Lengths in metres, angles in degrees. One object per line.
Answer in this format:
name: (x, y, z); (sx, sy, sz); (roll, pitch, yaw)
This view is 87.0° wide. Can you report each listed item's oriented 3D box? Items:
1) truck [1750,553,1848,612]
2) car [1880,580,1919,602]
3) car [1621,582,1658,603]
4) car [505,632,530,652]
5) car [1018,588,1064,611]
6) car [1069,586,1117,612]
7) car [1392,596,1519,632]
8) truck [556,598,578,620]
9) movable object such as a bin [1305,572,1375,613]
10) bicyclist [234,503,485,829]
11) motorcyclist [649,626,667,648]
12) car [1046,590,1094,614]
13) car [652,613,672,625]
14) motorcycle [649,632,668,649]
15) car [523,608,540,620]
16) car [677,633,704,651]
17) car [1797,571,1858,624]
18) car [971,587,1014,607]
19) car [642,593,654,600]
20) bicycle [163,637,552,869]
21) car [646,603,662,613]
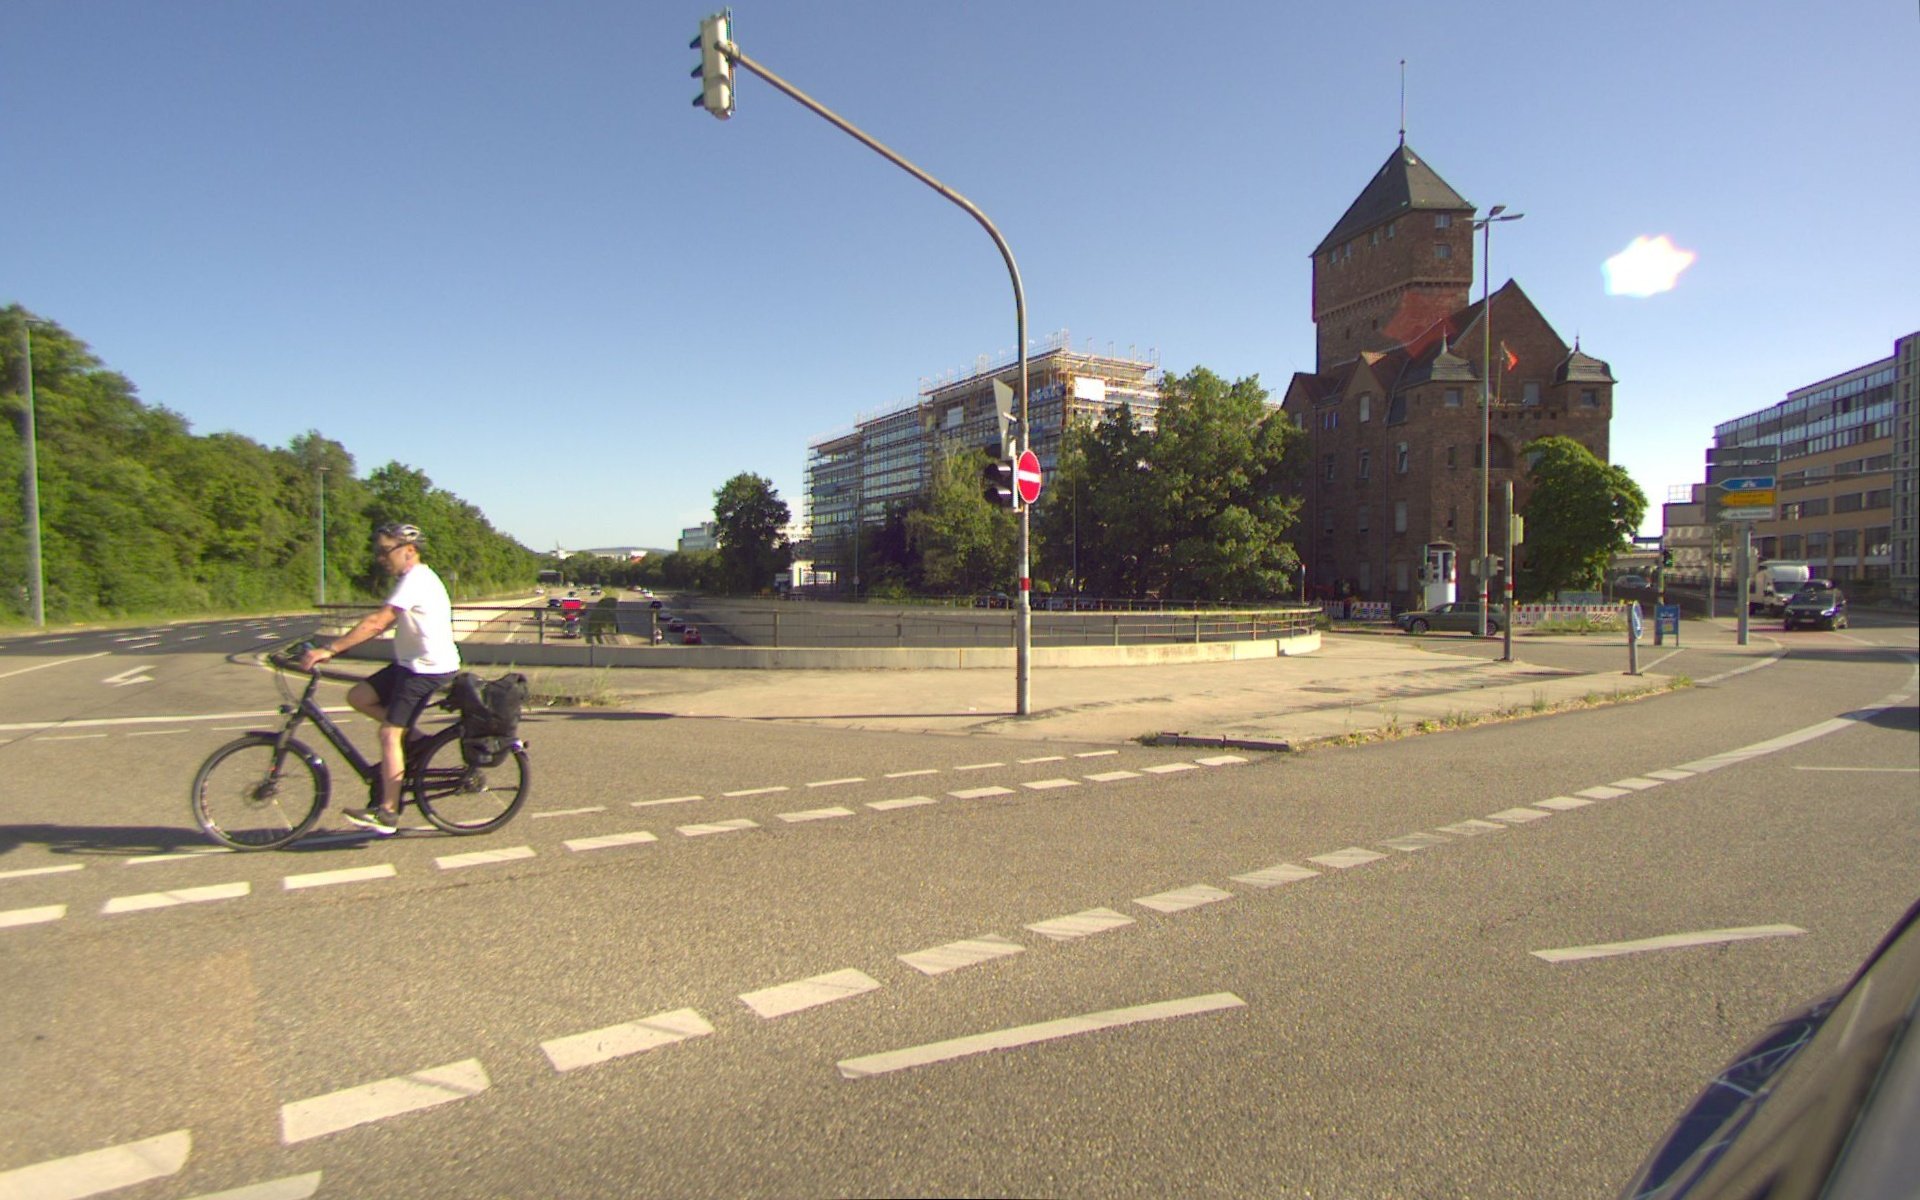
truck: (47.821, -0.994, 57.892); (2.477, 3.167, 6.903); (0, 1, 24)
car: (67.872, -0.624, 72.005); (1.854, 1.542, 4.141); (0, 1, 16)
car: (58.557, -0.678, 87.293); (1.737, 1.781, 4.750); (0, 1, 22)
car: (-38.995, 3.660, 89.206); (1.823, 1.583, 4.006); (0, 0, -26)
car: (5.712, -0.076, 70.920); (1.981, 1.581, 3.746); (0, 1, 27)
car: (8.512, -0.077, 64.543); (1.981, 1.581, 3.746); (0, 1, 27)
car: (21.409, 0.605, 43.904); (4.564, 1.489, 1.873); (0, -1, 13)
truck: (-47.532, 1.031, 122.328); (2.240, 2.416, 5.394); (-3, 1, -23)
movable object such as a bin: (23.267, -0.469, 62.113); (1.958, 2.440, 4.009); (0, 1, -18)
bicyclist: (-3.347, 0.335, 5.746); (1.089, 1.681, 0.728); (-1, -1, -19)
motorcyclist: (-29.158, 3.556, 97.604); (1.503, 2.039, 1.215); (0, -1, -26)
car: (7.349, 0.107, 67.258); (1.981, 1.581, 3.746); (0, 1, 27)
car: (-39.833, 2.480, 135.259); (1.959, 1.415, 4.007); (-3, 1, -24)
motorcycle: (-29.036, 3.858, 97.437); (1.260, 1.533, 3.577); (0, 0, -26)
car: (-56.601, 1.881, 133.563); (1.959, 1.415, 4.007); (-3, 1, -24)
car: (-26.480, 4.094, 99.397); (1.959, 1.415, 4.007); (-3, 1, -24)
car: (39.466, -0.158, 45.992); (1.944, 2.290, 4.712); (0, 1, 43)
car: (2.529, -0.227, 77.859); (1.981, 1.472, 3.746); (0, 1, 27)
car: (-67.241, -0.710, 217.879); (1.959, 1.415, 4.007); (-3, 1, -24)
bicycle: (-3.306, 0.798, 5.749); (1.788, 1.116, 0.695); (-1, 0, -19)
car: (-48.136, 1.318, 159.252); (1.959, 1.415, 4.007); (-3, 1, -24)
